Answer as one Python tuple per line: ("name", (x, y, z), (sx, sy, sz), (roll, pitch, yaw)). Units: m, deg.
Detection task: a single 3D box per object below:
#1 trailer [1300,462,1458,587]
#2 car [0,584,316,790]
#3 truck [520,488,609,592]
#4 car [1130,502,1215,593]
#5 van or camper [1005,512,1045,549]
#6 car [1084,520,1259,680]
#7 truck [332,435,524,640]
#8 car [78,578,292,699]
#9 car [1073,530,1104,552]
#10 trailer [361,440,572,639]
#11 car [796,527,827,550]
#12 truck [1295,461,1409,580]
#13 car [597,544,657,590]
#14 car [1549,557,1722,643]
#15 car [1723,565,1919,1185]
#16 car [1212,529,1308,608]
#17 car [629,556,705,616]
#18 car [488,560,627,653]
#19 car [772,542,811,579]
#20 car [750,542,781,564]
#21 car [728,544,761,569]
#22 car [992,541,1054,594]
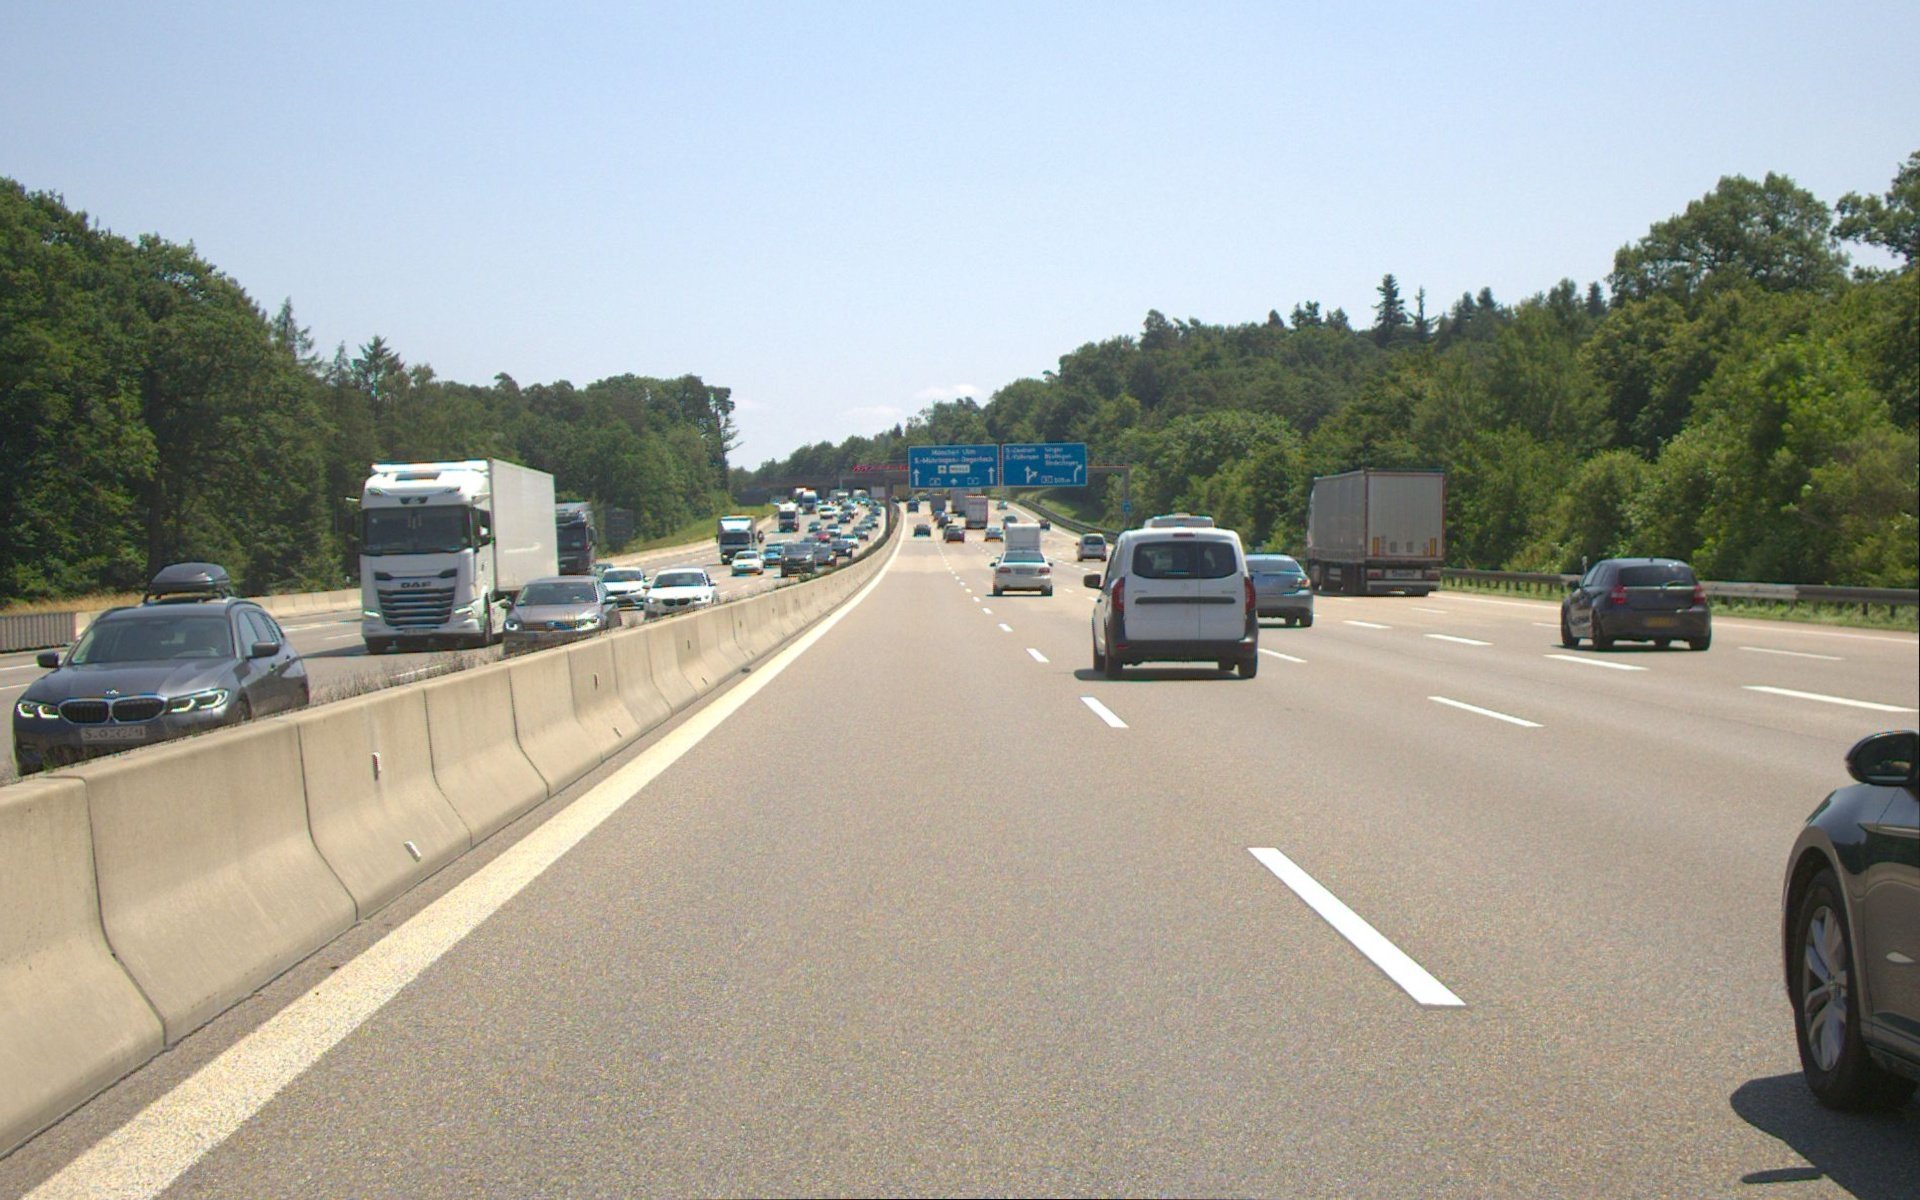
("trailer", (13.919, -2.594, 115.473), (3.287, 3.917, 13.892), (1, 2, -1))
("car", (-6.830, 0.676, 29.522), (1.870, 1.542, 4.592), (-1, 1, -2))
("truck", (-15.323, -2.340, 133.583), (2.577, 3.828, 7.018), (-2, 1, -1))
("car", (6.342, -1.626, 103.357), (2.143, 2.643, 5.710), (0, 2, -1))
("van or camper", (4.611, -4.911, 244.458), (2.645, 2.530, 6.502), (-1, 1, -1))
("car", (2.551, -0.042, 42.333), (1.860, 1.819, 4.612), (-2, 1, 1))
("truck", (-11.399, -1.328, 74.250), (3.047, 4.122, 6.949), (-2, 1, -1))
("car", (-10.904, 0.499, 48.721), (1.993, 1.482, 5.019), (-3, 1, -2))
("car", (8.439, -3.866, 225.457), (1.835, 1.333, 3.643), (-2, 1, -1))
("trailer", (-11.478, -1.422, 81.493), (3.023, 4.210, 14.468), (-2, 1, -1))
("car", (-9.775, -4.031, 226.390), (1.913, 1.459, 4.588), (-1, 0, -1))
("truck", (13.867, -2.862, 122.045), (3.254, 4.092, 5.988), (0, 2, -1))
("car", (-11.179, -1.125, 115.654), (1.722, 1.501, 4.462), (-1, 1, -2))
("car", (10.402, -0.034, 53.216), (1.670, 1.269, 4.290), (0, 1, -2))
("car", (3.125, 0.662, 7.707), (1.729, 1.442, 4.961), (0, 1, 0))
("car", (5.998, -0.645, 69.102), (1.503, 1.495, 3.650), (-2, 1, -1))
("car", (-7.538, -0.377, 88.630), (1.747, 1.452, 4.157), (-1, 1, -2))
("car", (-7.009, 0.077, 60.373), (1.993, 1.482, 5.136), (-2, 1, -2))
("car", (-9.390, -2.232, 191.728), (1.898, 1.947, 5.657), (-2, 1, -1))
("car", (-13.452, -3.227, 237.515), (1.913, 1.459, 4.588), (-1, 0, -1))
("car", (-12.974, -2.609, 207.133), (1.760, 1.459, 4.840), (-1, 1, -1))
("car", (2.022, -1.051, 111.440), (1.843, 1.623, 4.553), (-2, 1, 0))
